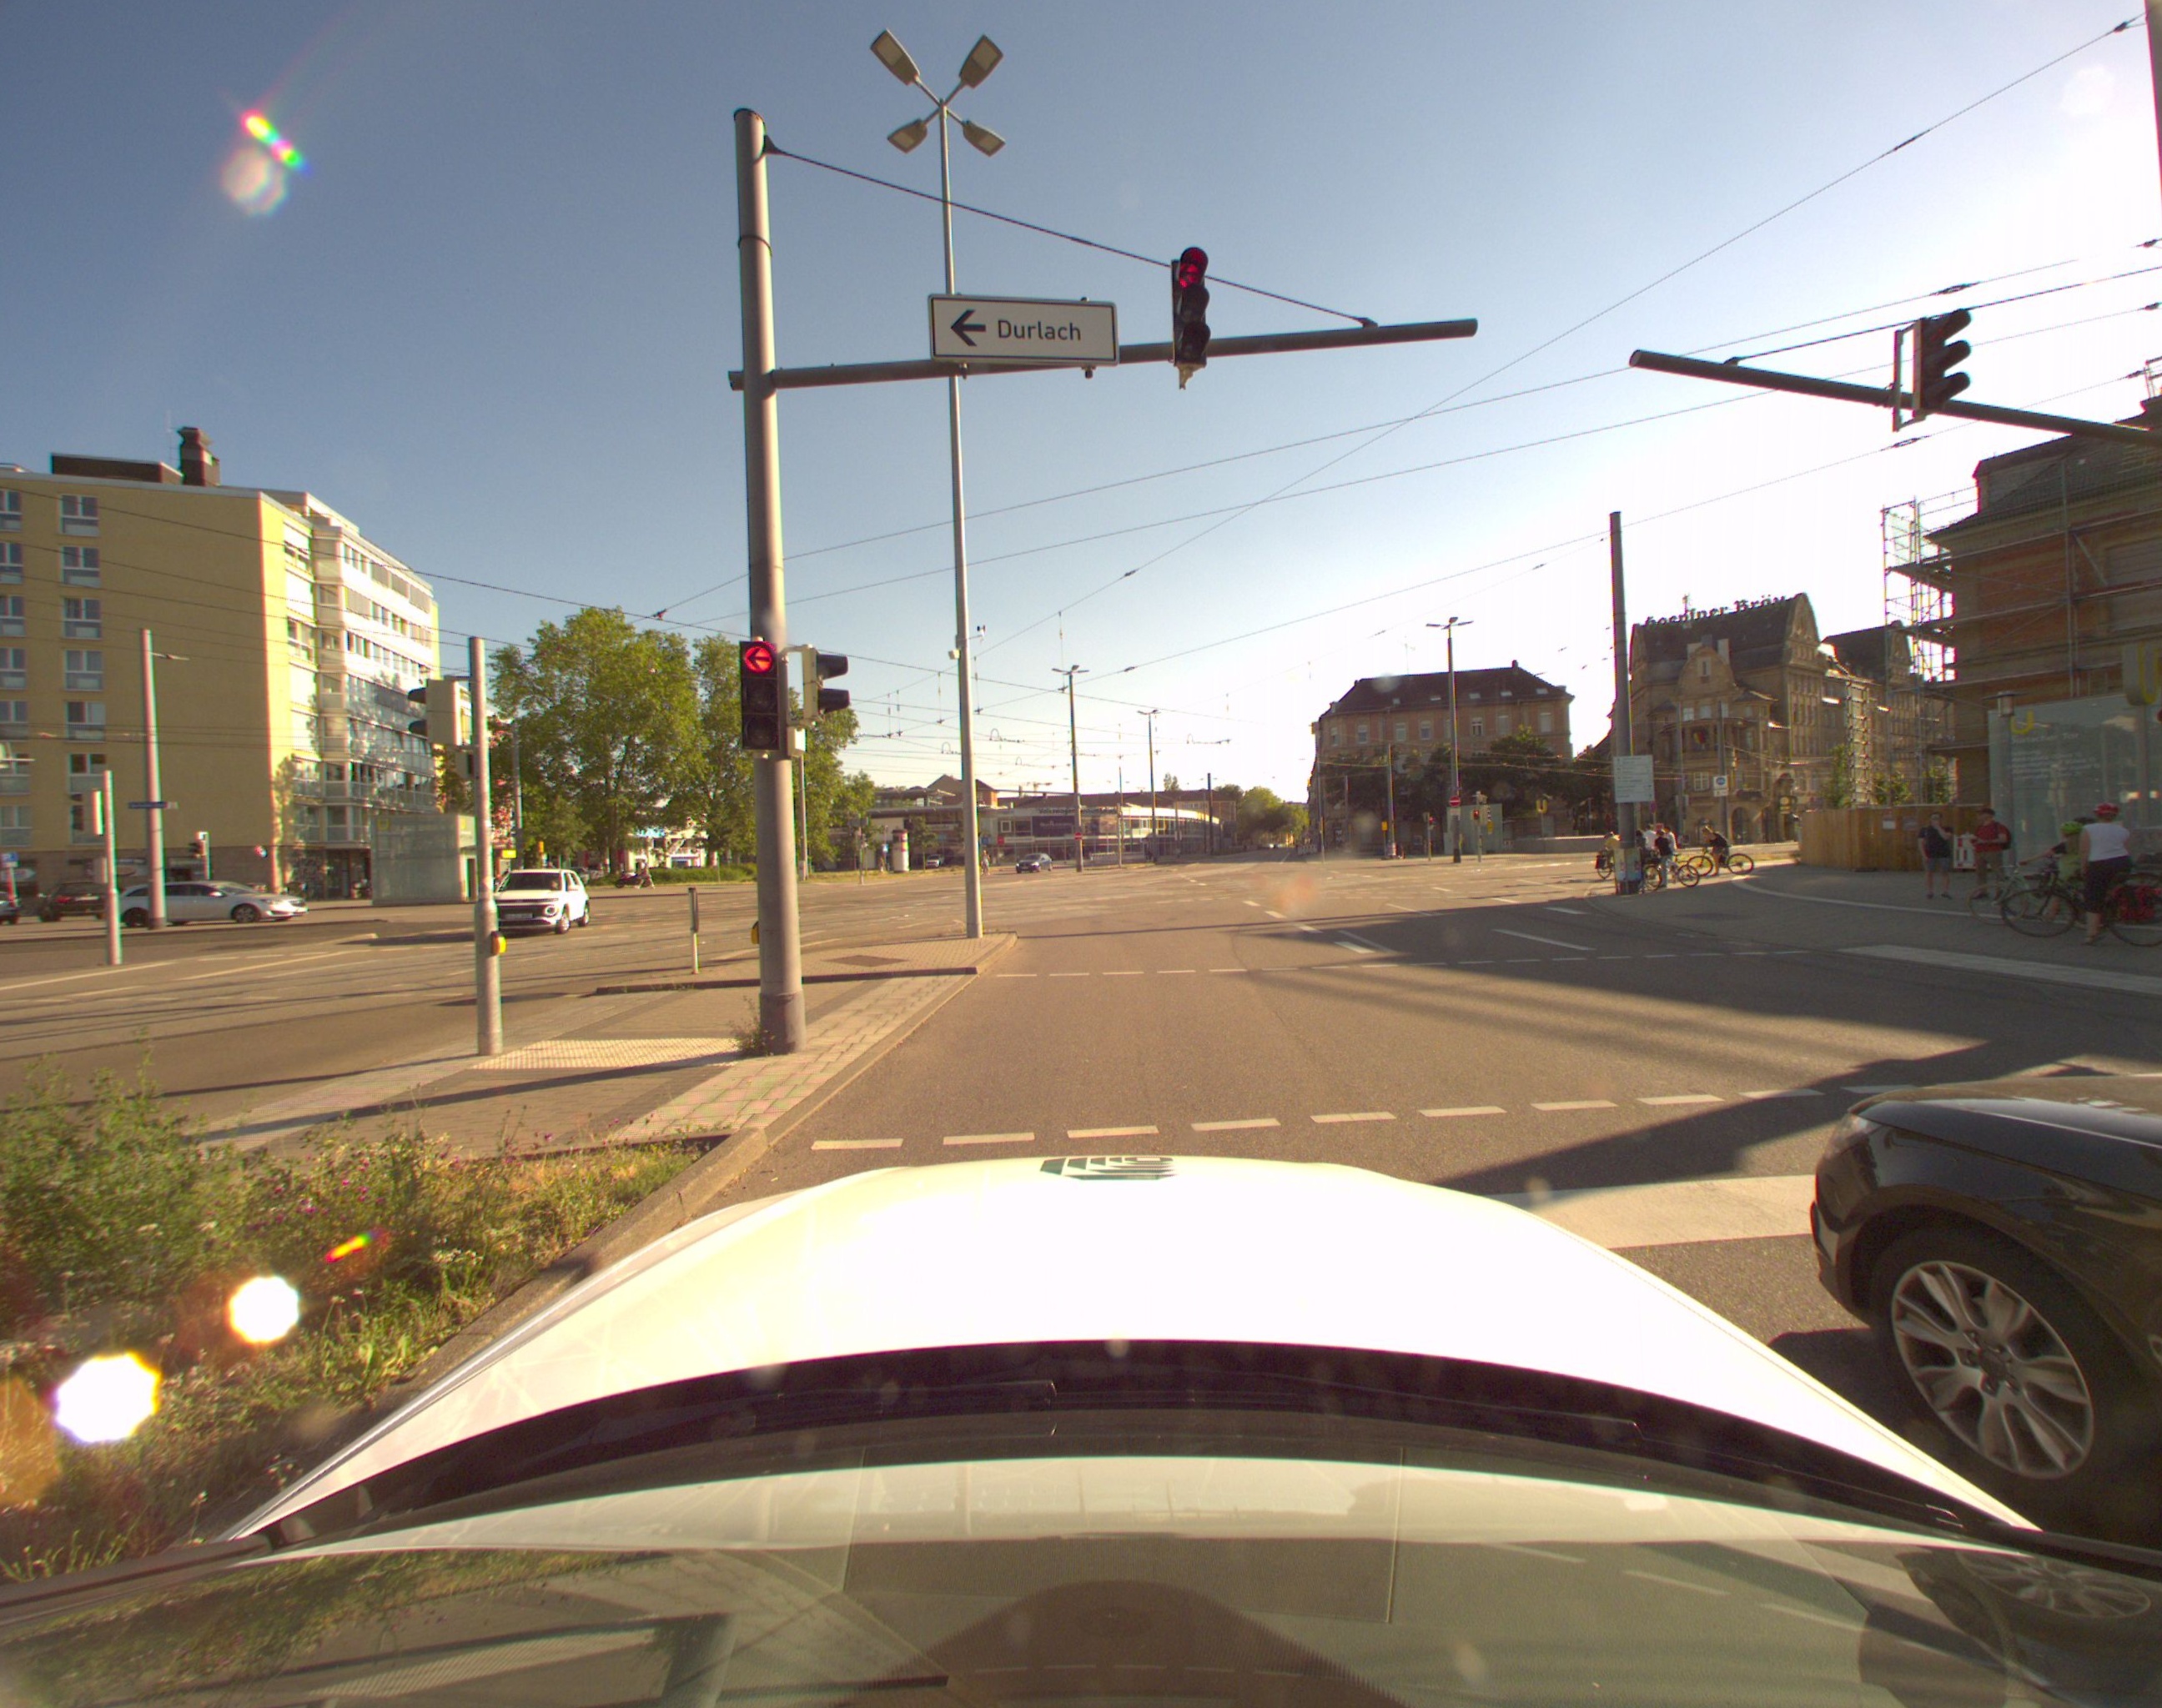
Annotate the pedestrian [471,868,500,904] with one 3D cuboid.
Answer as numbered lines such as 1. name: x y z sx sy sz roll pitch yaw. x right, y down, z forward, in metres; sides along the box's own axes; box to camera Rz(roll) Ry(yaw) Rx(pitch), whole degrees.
1. pedestrian: -28.371 1.520 38.813 0.790 1.706 0.760 -1 -1 9

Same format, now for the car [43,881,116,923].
1. car: -44.223 2.075 35.946 3.948 1.706 1.730 -1 -1 35

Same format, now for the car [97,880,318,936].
1. car: -29.004 1.740 27.242 4.720 1.662 1.774 0 -1 -20

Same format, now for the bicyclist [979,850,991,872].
1. bicyclist: -7.081 0.530 60.157 0.593 1.615 0.826 -1 -1 19

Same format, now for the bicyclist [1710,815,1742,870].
1. bicyclist: 21.172 -0.364 26.738 0.785 1.779 0.526 -1 -1 37

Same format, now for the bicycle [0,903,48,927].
1. bicycle: -54.402 3.078 41.087 3.041 1.151 0.637 0 -1 -16

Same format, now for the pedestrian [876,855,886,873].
1. pedestrian: -19.321 0.969 78.680 0.854 1.694 0.497 0 -1 -1

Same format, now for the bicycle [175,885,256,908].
1. bicycle: -46.264 2.257 43.555 3.041 1.151 0.637 0 -1 -16

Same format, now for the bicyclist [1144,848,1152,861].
1. bicyclist: 8.421 0.058 102.245 0.647 1.572 0.928 -1 -1 31

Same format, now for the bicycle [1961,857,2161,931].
1. bicycle: 14.452 0.547 11.997 0.657 0.963 2.033 -4 0 -3

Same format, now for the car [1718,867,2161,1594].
1. car: 2.892 0.734 0.720 1.617 1.404 4.001 0 0 2

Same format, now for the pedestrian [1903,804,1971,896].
1. pedestrian: 17.343 -0.087 16.512 0.672 1.807 0.680 -3 0 -19

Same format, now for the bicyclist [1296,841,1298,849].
1. bicyclist: 34.177 -1.432 128.796 0.405 1.116 0.400 -1 -1 13

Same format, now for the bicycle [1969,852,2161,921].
1. bicycle: 15.447 0.481 12.708 0.661 0.963 2.018 -4 1 -25

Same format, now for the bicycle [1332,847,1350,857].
1. bicycle: 25.346 -0.181 79.461 1.579 0.952 0.663 -1 -1 35

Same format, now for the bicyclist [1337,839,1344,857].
1. bicyclist: 25.335 -0.587 79.466 0.509 1.700 0.523 -1 -1 35

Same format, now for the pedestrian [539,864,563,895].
1. pedestrian: -29.167 1.410 44.810 0.790 1.706 0.760 -1 -1 9

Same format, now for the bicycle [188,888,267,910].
1. bicycle: -46.344 2.436 44.230 3.041 1.151 0.637 0 -1 -16

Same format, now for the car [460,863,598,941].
1. car: -13.244 1.063 19.826 1.786 1.662 3.974 0 -1 -19

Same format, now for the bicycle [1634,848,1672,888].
1. bicycle: 15.949 0.360 22.742 0.692 1.049 2.335 0 1 31

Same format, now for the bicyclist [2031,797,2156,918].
1. bicyclist: 13.479 0.044 10.869 0.664 1.553 0.794 0 -1 -3

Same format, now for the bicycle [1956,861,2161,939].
1. bicycle: 13.456 0.585 11.173 0.656 0.963 2.033 0 -1 -3

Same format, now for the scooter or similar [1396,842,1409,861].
1. scooter or similar: 24.744 -0.180 62.733 0.780 1.376 1.916 -1 -1 16

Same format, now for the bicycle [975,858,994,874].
1. bicycle: -7.112 0.863 60.054 0.607 1.189 1.878 -1 -1 19

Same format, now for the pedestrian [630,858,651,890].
1. pedestrian: -26.384 1.171 48.820 0.790 1.886 0.760 -1 -1 9

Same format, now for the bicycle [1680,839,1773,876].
1. bicycle: 21.162 0.125 26.760 2.290 1.049 0.539 -5 -1 36

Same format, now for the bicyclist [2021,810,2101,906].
1. bicyclist: 15.392 0.063 12.797 0.619 1.454 0.667 0 -1 -27

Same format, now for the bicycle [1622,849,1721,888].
1. bicycle: 17.024 0.409 23.561 0.701 1.049 2.303 0 -1 -22

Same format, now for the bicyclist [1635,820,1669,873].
1. bicyclist: 15.987 -0.198 22.823 0.701 1.439 0.953 -1 -1 31

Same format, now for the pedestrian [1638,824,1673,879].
1. pedestrian: 21.360 -0.092 30.286 0.730 2.014 0.760 0 -1 -6

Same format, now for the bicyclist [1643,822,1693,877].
1. bicyclist: 16.996 -0.120 23.604 0.711 1.557 0.940 0 -1 -22

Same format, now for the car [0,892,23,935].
1. car: -47.105 2.546 34.875 3.948 1.706 2.013 -1 -1 35

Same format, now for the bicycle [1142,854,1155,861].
1. bicycle: 8.482 0.421 102.341 0.632 0.870 2.249 -1 -1 32

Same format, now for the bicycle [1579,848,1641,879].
1. bicycle: 19.113 0.326 29.477 0.533 1.049 2.315 0 1 -6

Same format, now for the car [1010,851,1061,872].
1. car: -3.436 0.564 62.008 1.975 1.585 4.024 -1 -1 29

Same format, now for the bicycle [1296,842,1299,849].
1. bicycle: 34.201 -1.339 128.842 0.407 0.941 1.852 -1 -1 15

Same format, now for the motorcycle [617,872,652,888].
1. motorcycle: -27.263 1.579 49.749 1.779 0.914 0.675 0 -1 -19

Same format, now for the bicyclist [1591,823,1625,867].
1. bicyclist: 19.106 -0.316 29.541 0.514 1.557 0.945 0 -1 -7

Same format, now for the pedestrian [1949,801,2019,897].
1. pedestrian: 17.546 -0.094 15.834 0.672 1.807 0.680 0 -1 -19

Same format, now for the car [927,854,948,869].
1. car: -17.541 0.937 99.832 1.988 1.750 3.997 0 -1 -1

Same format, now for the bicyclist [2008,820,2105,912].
1. bicyclist: 14.435 0.177 12.066 0.614 1.315 0.673 0 -1 -3

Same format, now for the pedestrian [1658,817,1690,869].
1. pedestrian: 22.173 -0.399 30.440 0.646 1.922 0.689 0 -1 -6
